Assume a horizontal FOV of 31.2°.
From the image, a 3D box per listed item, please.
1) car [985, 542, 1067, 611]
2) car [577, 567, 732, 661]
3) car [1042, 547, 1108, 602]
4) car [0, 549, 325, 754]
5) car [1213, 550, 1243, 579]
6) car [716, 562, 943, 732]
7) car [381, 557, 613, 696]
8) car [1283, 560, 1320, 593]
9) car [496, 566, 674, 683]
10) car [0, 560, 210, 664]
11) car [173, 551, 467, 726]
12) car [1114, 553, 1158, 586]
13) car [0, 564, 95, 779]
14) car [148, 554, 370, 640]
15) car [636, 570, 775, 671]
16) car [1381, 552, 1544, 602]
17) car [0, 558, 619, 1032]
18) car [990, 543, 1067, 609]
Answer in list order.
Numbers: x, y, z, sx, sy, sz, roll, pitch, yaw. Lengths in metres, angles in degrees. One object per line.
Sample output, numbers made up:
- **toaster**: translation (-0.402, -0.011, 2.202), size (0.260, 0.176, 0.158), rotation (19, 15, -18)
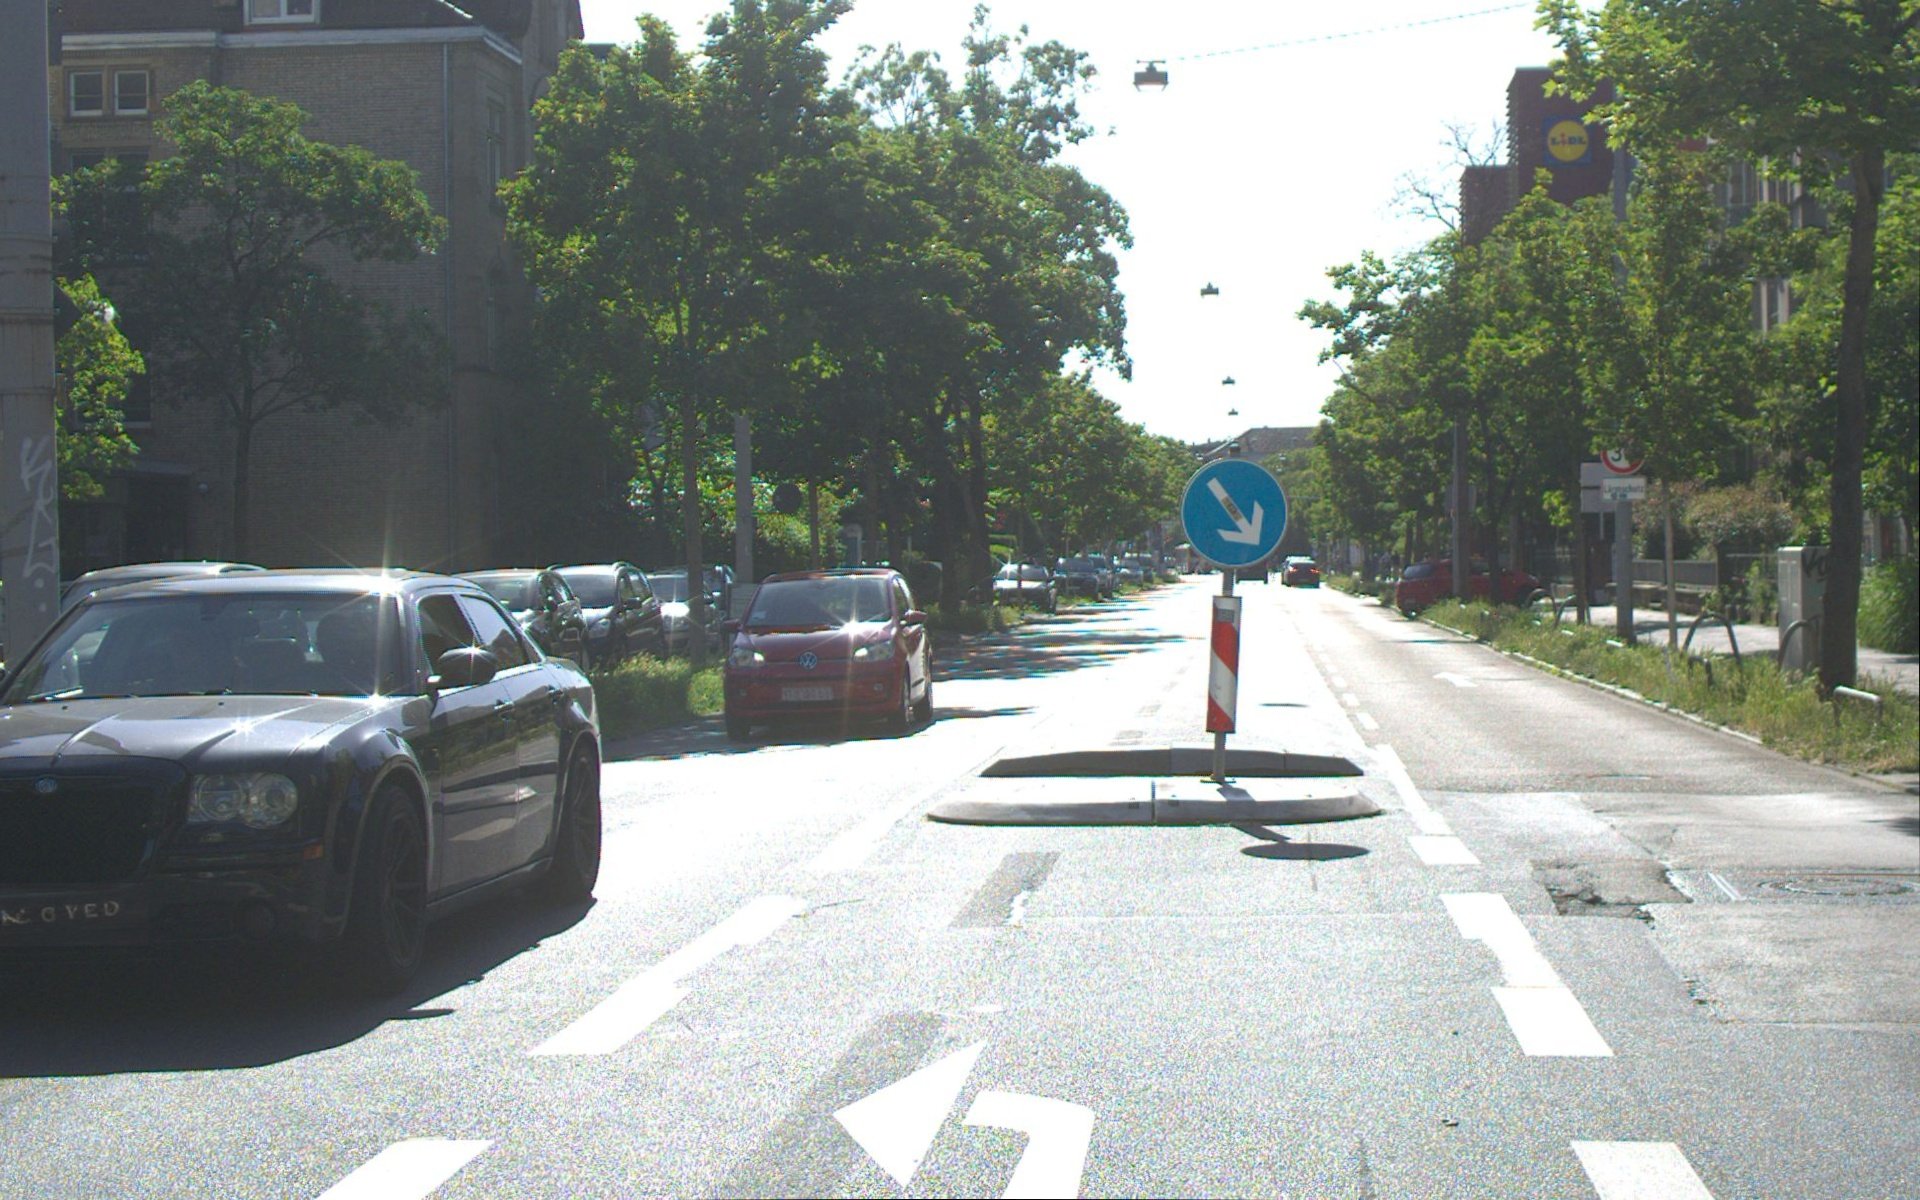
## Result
- **car**: translation (2.012, -0.723, 103.809), size (1.994, 2.007, 4.204), rotation (-1, 1, 7)
- **car**: translation (-4.791, 0.193, 54.368), size (1.755, 1.393, 3.999), rotation (-1, 1, 5)
- **car**: translation (4.386, -1.004, 130.745), size (2.061, 2.007, 4.628), rotation (-1, 1, 7)
- **car**: translation (-7.128, 0.390, 30.044), size (1.868, 1.622, 4.504), rotation (-2, 1, 6)
- **car**: translation (16.975, -2.266, 217.264), size (1.758, 1.777, 3.999), rotation (-1, 1, 6)
- **car**: translation (-1.136, 0.387, 31.425), size (1.651, 1.423, 3.506), rotation (-1, 1, 5)
- **car**: translation (-5.758, 0.293, 43.215), size (1.863, 1.582, 3.999), rotation (-2, 1, 7)
- **car**: translation (18.571, -1.278, 186.787), size (1.951, 1.702, 3.999), rotation (-1, 1, 6)
- **car**: translation (-5.301, 0.320, 49.075), size (1.751, 1.548, 3.999), rotation (-1, 1, 5)
- **car**: translation (-14.390, 0.190, 55.901), size (3.987, 1.624, 1.687), rotation (-1, 1, 2)
- **car**: translation (-6.729, 0.355, 36.639), size (1.888, 1.656, 4.530), rotation (-3, 1, 5)
- **car**: translation (9.201, -1.603, 179.690), size (1.994, 1.690, 3.999), rotation (-1, 1, 7)
- **car**: translation (-7.658, 0.530, 24.916), size (1.719, 1.513, 3.531), rotation (-2, 1, 2)
- **car**: translation (-13.800, -0.067, 67.836), size (3.987, 1.624, 1.687), rotation (-1, 1, 2)
- **car**: translation (-4.374, 0.327, 59.557), size (1.763, 1.640, 3.999), rotation (-1, 1, 5)
- **car**: translation (13.073, -0.604, 89.393), size (3.987, 1.219, 1.803), rotation (-1, 1, -34)
- **car**: translation (-2.688, 0.594, 13.071), size (1.866, 1.453, 4.592), rotation (-1, 1, 6)
- **car**: translation (2.215, -0.790, 109.650), size (1.994, 2.007, 4.204), rotation (-1, 1, 7)
